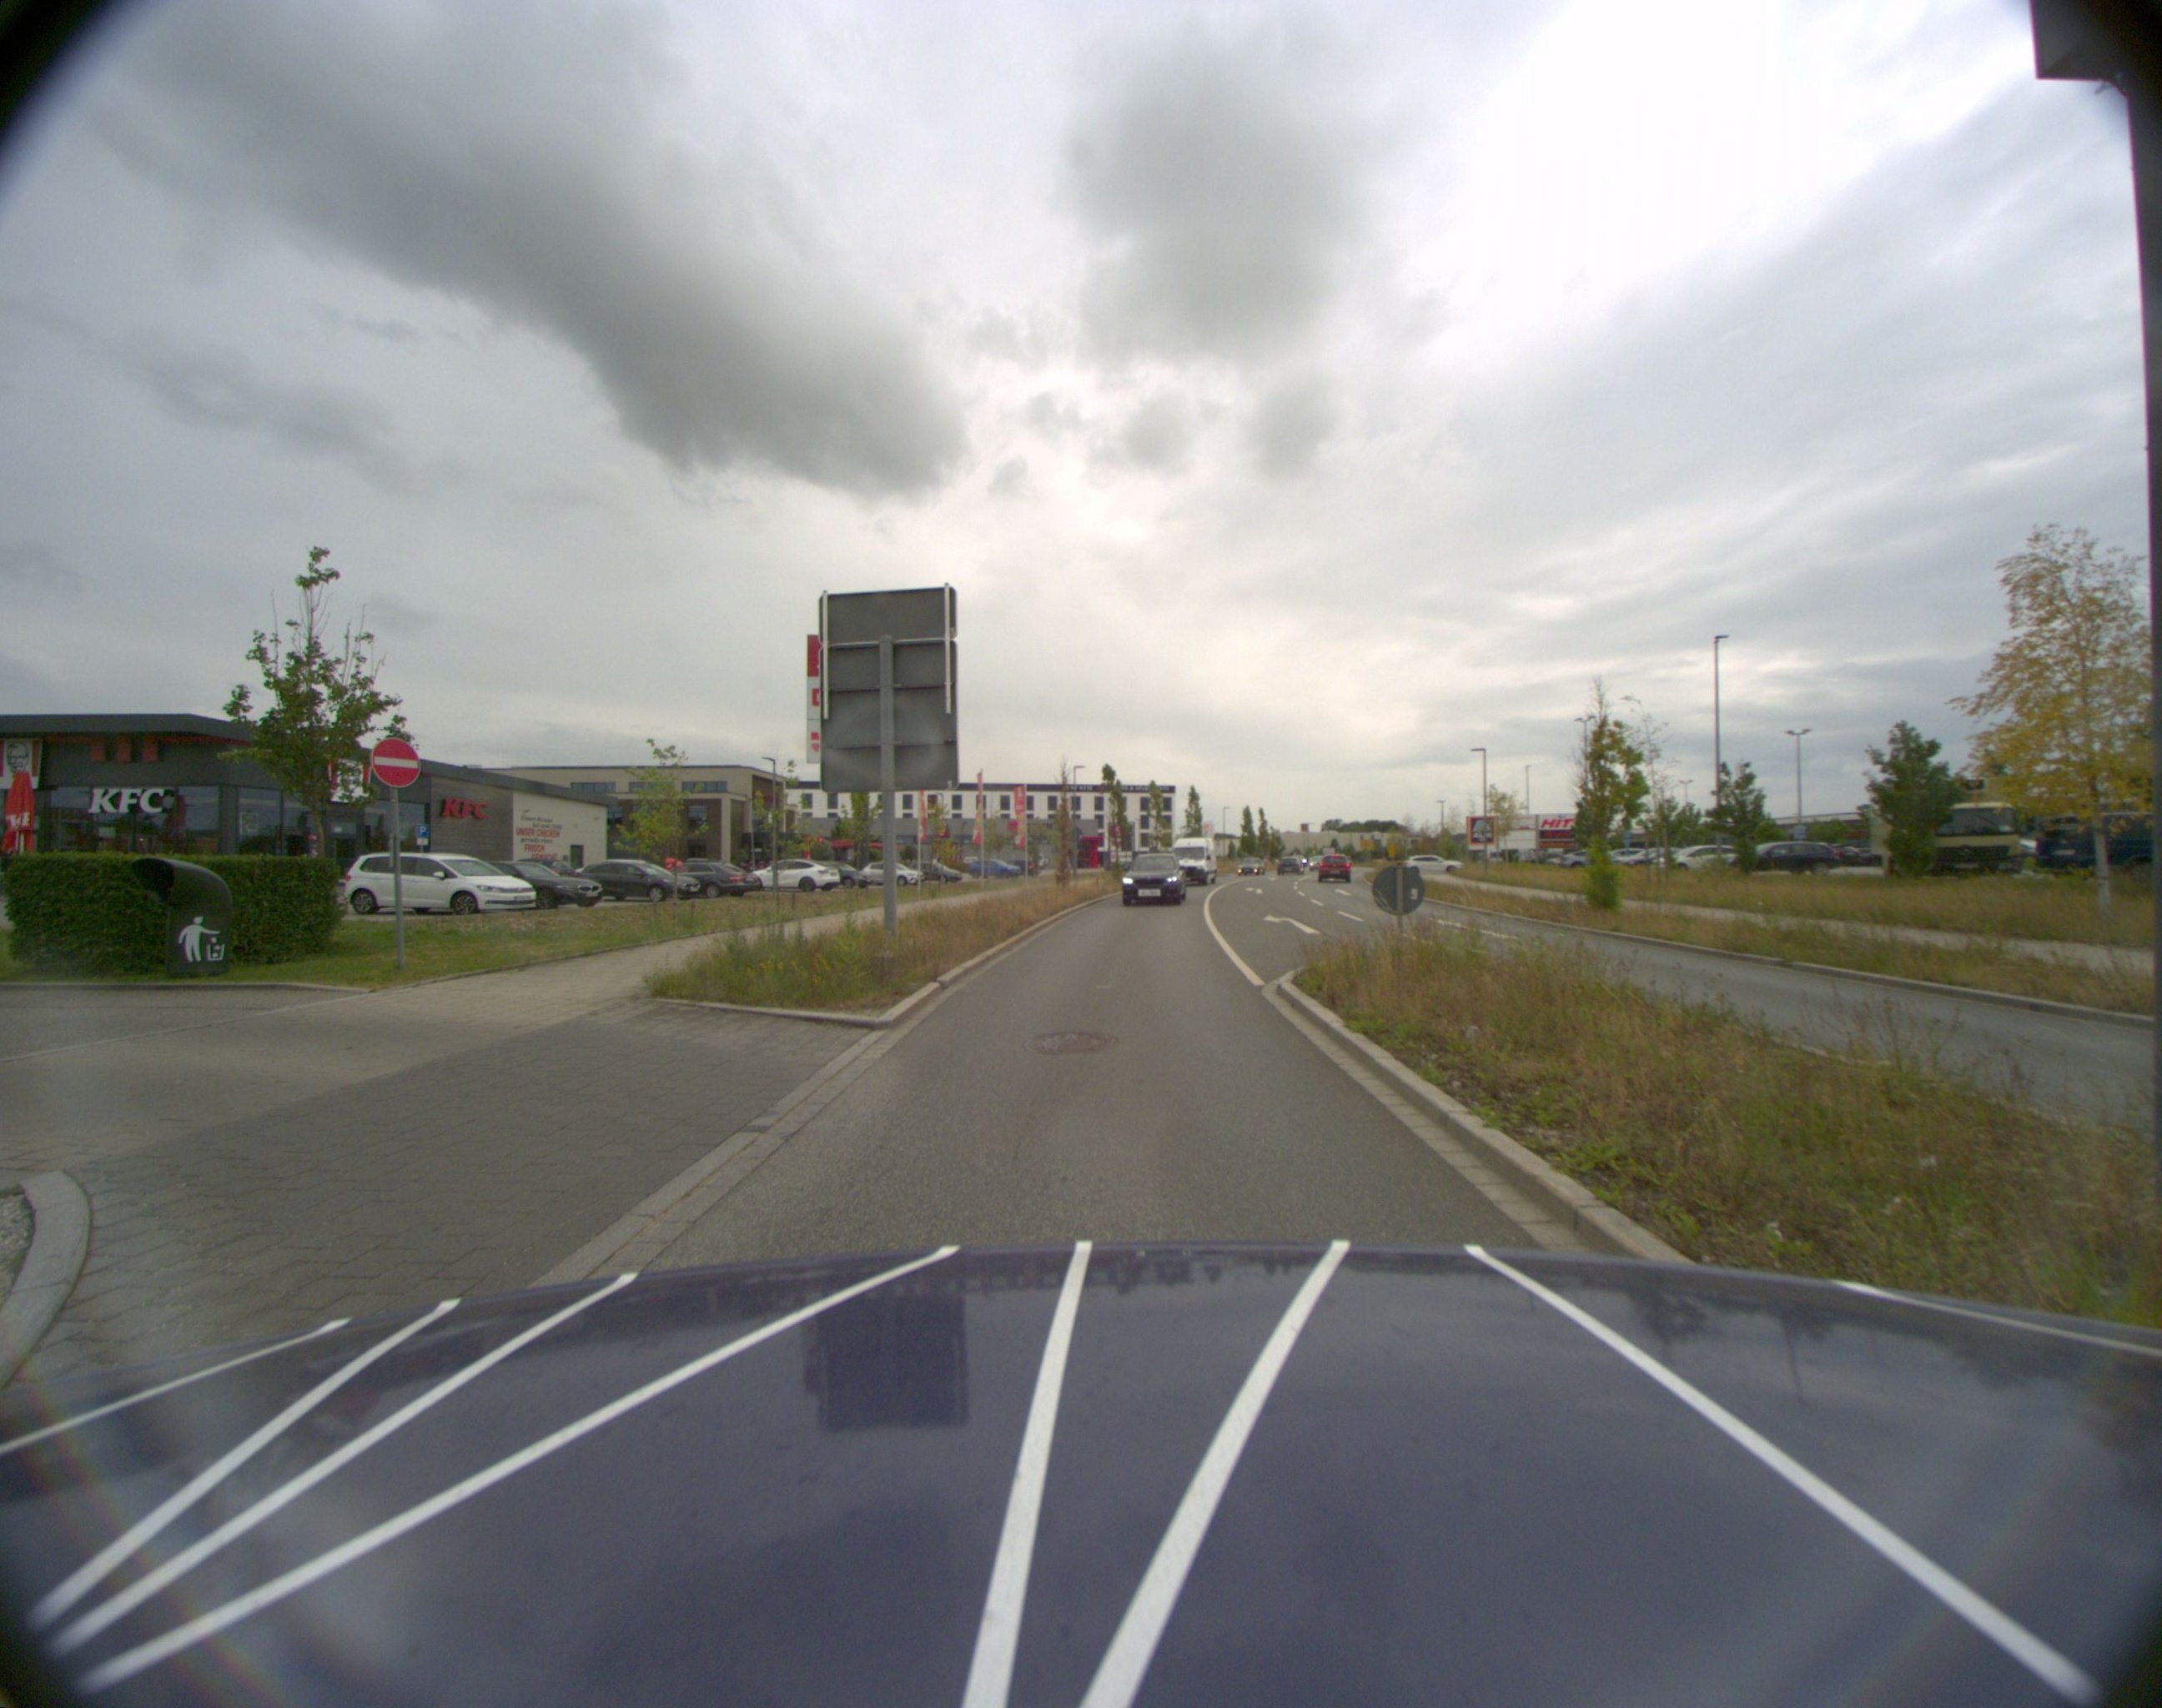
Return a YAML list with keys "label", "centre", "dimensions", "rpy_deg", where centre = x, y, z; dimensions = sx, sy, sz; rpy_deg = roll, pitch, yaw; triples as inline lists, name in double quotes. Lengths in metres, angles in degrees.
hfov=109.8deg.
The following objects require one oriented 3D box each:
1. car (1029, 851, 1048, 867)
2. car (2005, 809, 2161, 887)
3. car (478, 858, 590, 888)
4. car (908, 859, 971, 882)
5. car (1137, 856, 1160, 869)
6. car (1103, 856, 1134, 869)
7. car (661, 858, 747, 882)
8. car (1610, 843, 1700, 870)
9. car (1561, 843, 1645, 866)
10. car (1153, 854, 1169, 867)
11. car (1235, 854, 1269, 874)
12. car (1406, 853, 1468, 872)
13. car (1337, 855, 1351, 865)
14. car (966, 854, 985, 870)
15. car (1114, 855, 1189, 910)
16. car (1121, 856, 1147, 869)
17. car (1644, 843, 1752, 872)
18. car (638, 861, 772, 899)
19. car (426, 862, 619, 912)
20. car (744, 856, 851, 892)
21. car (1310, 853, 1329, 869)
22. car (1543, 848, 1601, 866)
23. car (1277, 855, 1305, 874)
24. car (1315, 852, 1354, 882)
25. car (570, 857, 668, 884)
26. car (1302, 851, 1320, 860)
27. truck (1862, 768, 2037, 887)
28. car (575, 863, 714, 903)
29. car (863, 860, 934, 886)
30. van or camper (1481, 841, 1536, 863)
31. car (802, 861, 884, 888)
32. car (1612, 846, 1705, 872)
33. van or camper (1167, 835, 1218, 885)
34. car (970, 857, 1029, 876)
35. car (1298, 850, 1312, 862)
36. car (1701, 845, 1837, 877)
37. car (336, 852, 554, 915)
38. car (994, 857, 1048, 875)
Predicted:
- label: "car"
  centre: [-5.523, 0.687, 99.225]
  dimensions: [2.000, 1.975, 4.632]
  rpy_deg: [-1, 0, -9]
- label: "car"
  centre: [28.841, -0.164, 20.359]
  dimensions: [4.910, 1.978, 2.181]
  rpy_deg: [-1, 0, 11]
- label: "car"
  centre: [-28.302, 0.964, 39.420]
  dimensions: [4.374, 1.510, 2.048]
  rpy_deg: [0, 0, 1]
- label: "car"
  centre: [-9.661, 1.113, 51.967]
  dimensions: [3.762, 1.485, 1.892]
  rpy_deg: [-1, 0, 19]
- label: "car"
  centre: [8.472, 1.009, 95.014]
  dimensions: [1.996, 1.488, 4.614]
  rpy_deg: [0, 1, 17]
- label: "car"
  centre: [4.142, 0.929, 83.857]
  dimensions: [1.963, 1.451, 4.840]
  rpy_deg: [0, 0, 21]
- label: "car"
  centre: [-24.482, 1.017, 49.431]
  dimensions: [4.572, 1.510, 1.978]
  rpy_deg: [0, 0, 1]
- label: "car"
  centre: [37.515, 0.182, 49.783]
  dimensions: [4.247, 1.713, 2.031]
  rpy_deg: [-1, 0, 18]
- label: "car"
  centre: [37.502, 0.050, 54.708]
  dimensions: [4.602, 1.552, 2.003]
  rpy_deg: [-1, 0, 20]
- label: "car"
  centre: [10.687, 0.916, 101.088]
  dimensions: [1.765, 1.676, 4.415]
  rpy_deg: [0, 0, 11]
- label: "car"
  centre: [13.942, 0.807, 61.821]
  dimensions: [1.753, 1.575, 4.007]
  rpy_deg: [-1, 0, 26]
- label: "car"
  centre: [27.839, 0.678, 59.438]
  dimensions: [4.181, 1.460, 1.890]
  rpy_deg: [0, 0, 31]
- label: "car"
  centre: [46.254, 1.080, 133.465]
  dimensions: [1.995, 1.627, 4.710]
  rpy_deg: [1, 1, 22]
- label: "car"
  centre: [-12.067, 0.911, 86.924]
  dimensions: [2.000, 1.687, 4.790]
  rpy_deg: [-1, 0, -6]
- label: "car"
  centre: [2.446, 0.897, 25.396]
  dimensions: [1.997, 1.654, 4.004]
  rpy_deg: [-2, -1, 12]
- label: "car"
  centre: [6.252, 0.972, 88.902]
  dimensions: [1.865, 1.428, 4.887]
  rpy_deg: [0, 0, 19]
- label: "car"
  centre: [34.379, 0.226, 42.455]
  dimensions: [4.253, 1.550, 1.991]
  rpy_deg: [0, 0, 13]
- label: "car"
  centre: [-15.246, 1.039, 30.950]
  dimensions: [4.526, 1.460, 2.033]
  rpy_deg: [0, 0, 8]
- label: "car"
  centre: [-16.948, 0.981, 23.201]
  dimensions: [4.477, 1.428, 2.075]
  rpy_deg: [0, 0, 4]
- label: "car"
  centre: [-14.125, 0.972, 37.921]
  dimensions: [4.568, 1.635, 2.090]
  rpy_deg: [1, 0, 12]
- label: "car"
  centre: [23.328, 0.685, 74.317]
  dimensions: [1.704, 1.429, 4.038]
  rpy_deg: [0, 0, 16]
- label: "car"
  centre: [47.039, 0.283, 72.867]
  dimensions: [4.305, 1.645, 2.084]
  rpy_deg: [0, 0, 21]
- label: "car"
  centre: [16.539, 0.769, 59.734]
  dimensions: [1.831, 1.411, 4.252]
  rpy_deg: [-1, 0, 19]
- label: "car"
  centre: [15.034, 0.734, 45.237]
  dimensions: [1.801, 1.659, 4.331]
  rpy_deg: [2, 0, 14]
- label: "car"
  centre: [-27.149, 0.966, 44.733]
  dimensions: [4.572, 1.510, 2.081]
  rpy_deg: [0, 0, 3]
- label: "car"
  centre: [58.896, 0.387, 194.405]
  dimensions: [4.002, 2.002, 1.640]
  rpy_deg: [-1, 0, -16]
- label: "truck"
  centre: [30.002, -0.790, 26.660]
  dimensions: [2.851, 3.520, 8.447]
  rpy_deg: [-1, 0, 41]
- label: "car"
  centre: [-16.074, 1.046, 28.084]
  dimensions: [4.092, 1.429, 1.944]
  rpy_deg: [0, 0, 6]
- label: "car"
  centre: [-11.386, 1.157, 47.464]
  dimensions: [3.865, 1.473, 1.905]
  rpy_deg: [1, 0, 18]
- label: "van or camper"
  centre: [55.796, -0.296, 99.211]
  dimensions: [5.860, 2.783, 2.245]
  rpy_deg: [0, 1, 14]
- label: "car"
  centre: [-13.447, 1.137, 42.966]
  dimensions: [3.992, 1.476, 1.943]
  rpy_deg: [0, 1, 16]
- label: "car"
  centre: [36.017, 0.320, 47.500]
  dimensions: [4.246, 1.504, 2.049]
  rpy_deg: [-1, 0, 23]
- label: "van or camper"
  centre: [6.263, 0.331, 42.278]
  dimensions: [2.261, 2.601, 5.703]
  rpy_deg: [0, 0, 14]
- label: "car"
  centre: [-6.574, 1.011, 61.276]
  dimensions: [4.266, 1.511, 1.969]
  rpy_deg: [-1, 0, 22]
- label: "car"
  centre: [31.312, 0.280, 106.358]
  dimensions: [1.754, 1.575, 4.005]
  rpy_deg: [-1, 0, 16]
- label: "car"
  centre: [31.810, 0.322, 35.300]
  dimensions: [4.237, 1.426, 2.000]
  rpy_deg: [-1, 0, 17]
- label: "car"
  centre: [-17.193, 0.784, 20.688]
  dimensions: [4.357, 1.630, 1.938]
  rpy_deg: [0, 0, 2]
- label: "car"
  centre: [-5.009, 1.017, 63.436]
  dimensions: [3.990, 1.485, 1.985]
  rpy_deg: [-1, 0, 24]
